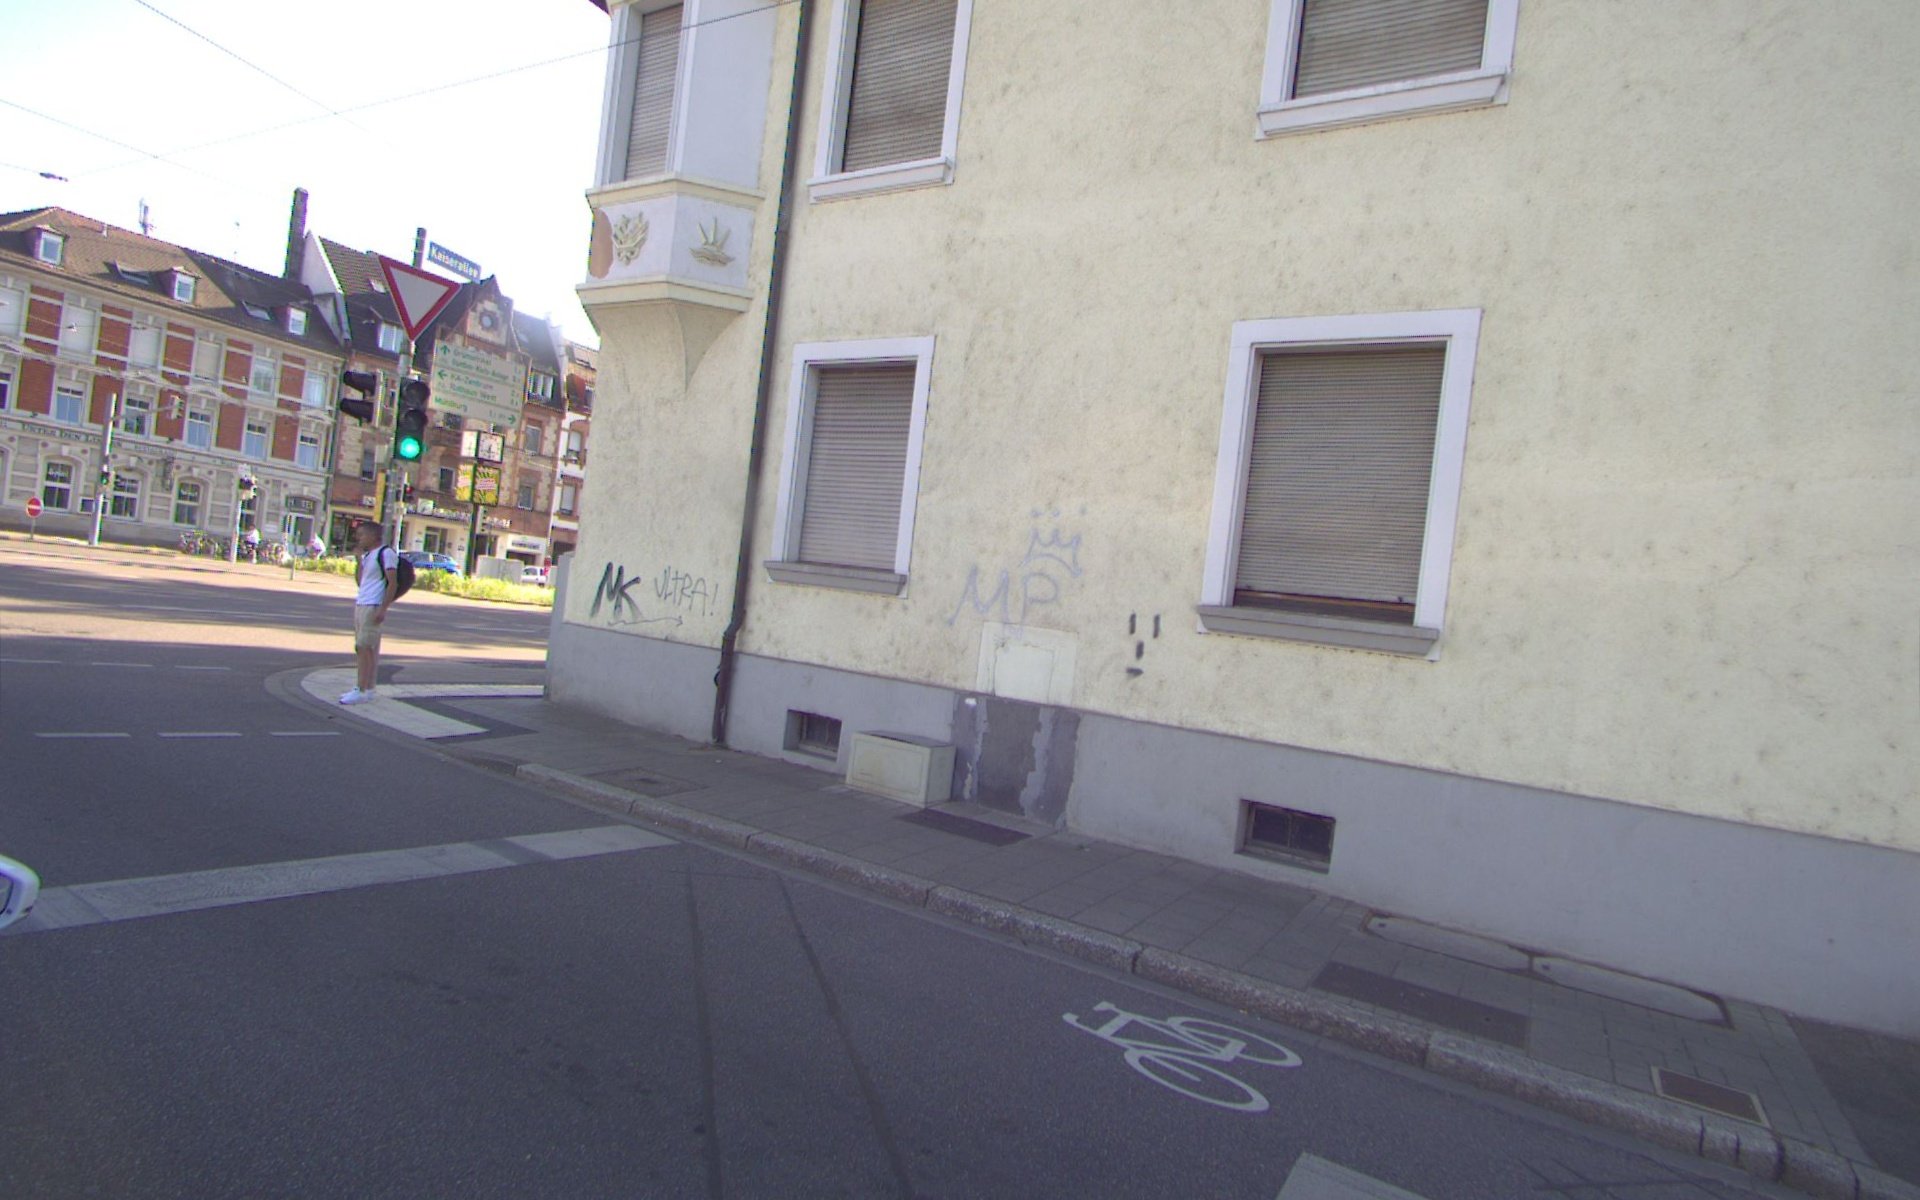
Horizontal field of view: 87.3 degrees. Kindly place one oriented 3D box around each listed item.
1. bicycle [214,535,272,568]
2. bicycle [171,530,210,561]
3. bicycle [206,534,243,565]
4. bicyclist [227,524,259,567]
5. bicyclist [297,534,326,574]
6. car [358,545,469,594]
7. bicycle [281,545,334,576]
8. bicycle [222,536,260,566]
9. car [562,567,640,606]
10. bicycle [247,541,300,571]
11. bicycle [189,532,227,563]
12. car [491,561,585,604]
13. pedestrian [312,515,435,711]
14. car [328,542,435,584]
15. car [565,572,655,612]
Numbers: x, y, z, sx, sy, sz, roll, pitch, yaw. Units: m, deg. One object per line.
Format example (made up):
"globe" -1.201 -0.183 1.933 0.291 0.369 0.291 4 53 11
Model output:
"bicycle" -32.381 -2.194 45.466 0.592 1.205 1.962 7 -1 34
"bicycle" -34.870 -2.483 45.582 1.935 1.205 0.678 7 0 33
"bicycle" -34.190 -2.360 46.751 1.935 1.205 0.678 7 0 33
"bicyclist" -32.383 -2.451 45.410 0.592 1.785 0.873 7 0 34
"bicyclist" -31.118 -2.220 48.297 0.593 1.785 0.902 7 0 42
"car" -25.389 -1.385 46.840 1.922 1.688 3.993 7 -1 31
"bicycle" -31.250 -1.885 48.209 0.593 1.205 1.958 7 -1 41
"bicycle" -33.835 -2.294 47.324 1.935 1.205 0.678 7 0 33
"car" -23.225 -0.849 65.195 1.922 1.988 4.411 7 -1 31
"bicycle" -32.868 -2.094 48.176 0.667 1.205 1.968 7 -1 20
"bicycle" -34.530 -2.398 46.195 1.935 1.205 0.678 7 0 33
"car" -21.906 -0.907 52.344 1.922 1.688 3.993 7 -1 31
"pedestrian" -5.610 0.115 9.651 0.661 1.764 0.689 5 2 4
"car" -27.815 -1.744 48.477 1.815 1.429 3.993 7 -1 31
"car" -19.538 -0.422 56.355 1.922 1.688 4.480 7 -1 31
